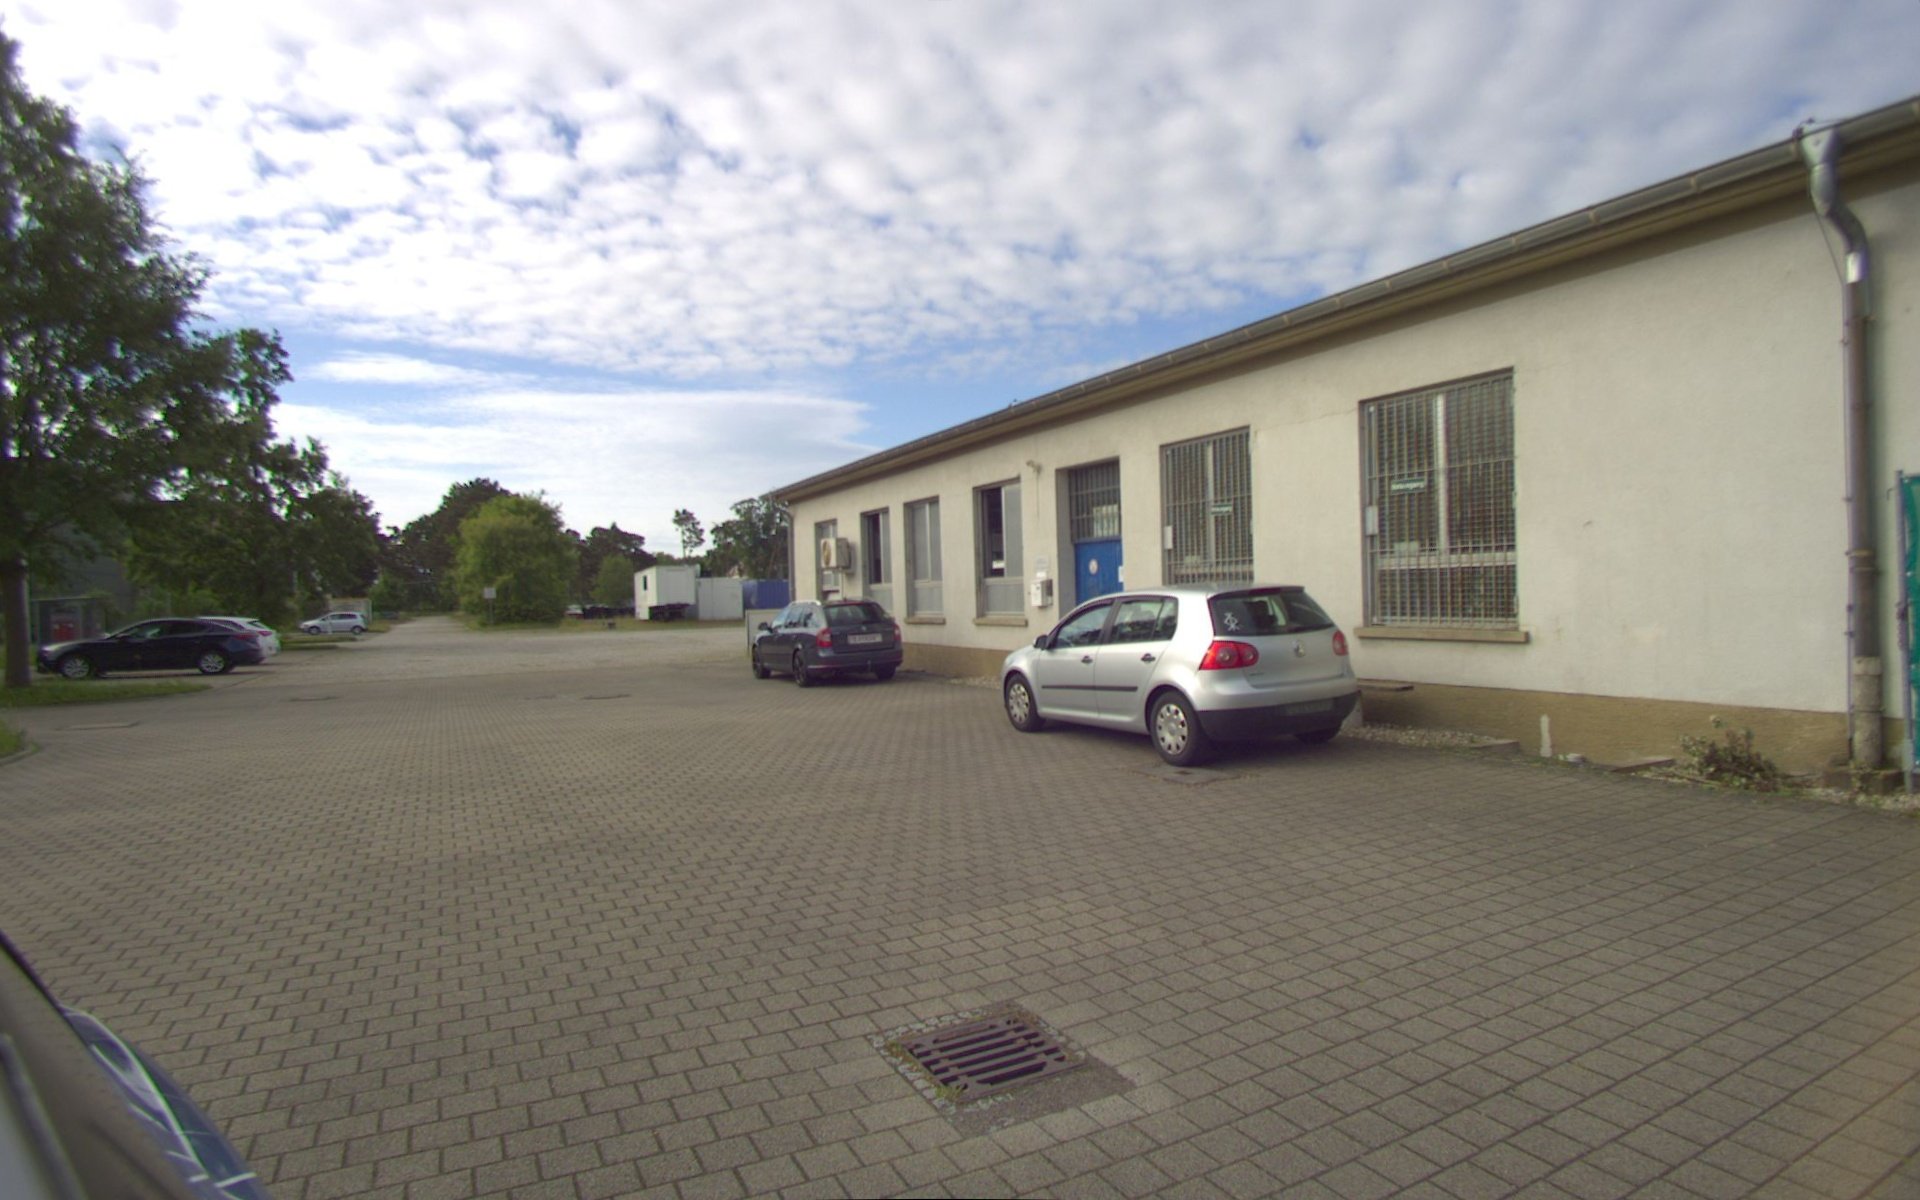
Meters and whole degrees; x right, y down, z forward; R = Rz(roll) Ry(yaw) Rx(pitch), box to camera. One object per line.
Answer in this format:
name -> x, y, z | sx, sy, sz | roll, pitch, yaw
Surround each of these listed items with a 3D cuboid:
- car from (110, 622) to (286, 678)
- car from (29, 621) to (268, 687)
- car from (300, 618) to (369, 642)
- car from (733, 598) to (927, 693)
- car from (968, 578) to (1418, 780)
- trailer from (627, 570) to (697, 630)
car -> -22.649, 1.440, 30.270 | 3.920, 1.477, 1.889 | -1, -1, -28
car -> -20.291, 1.306, 25.582 | 4.401, 1.458, 1.950 | 0, -1, -28
car -> -44.079, 2.075, 71.368 | 4.063, 1.637, 1.945 | 0, -1, -30
car -> -2.557, 0.768, 18.688 | 1.898, 1.472, 4.826 | -2, 0, -28
car -> 1.944, 0.616, 9.923 | 1.897, 1.450, 4.382 | -2, 0, -27
trailer -> -20.295, 0.087, 68.464 | 2.828, 3.690, 10.812 | -2, 0, -25
